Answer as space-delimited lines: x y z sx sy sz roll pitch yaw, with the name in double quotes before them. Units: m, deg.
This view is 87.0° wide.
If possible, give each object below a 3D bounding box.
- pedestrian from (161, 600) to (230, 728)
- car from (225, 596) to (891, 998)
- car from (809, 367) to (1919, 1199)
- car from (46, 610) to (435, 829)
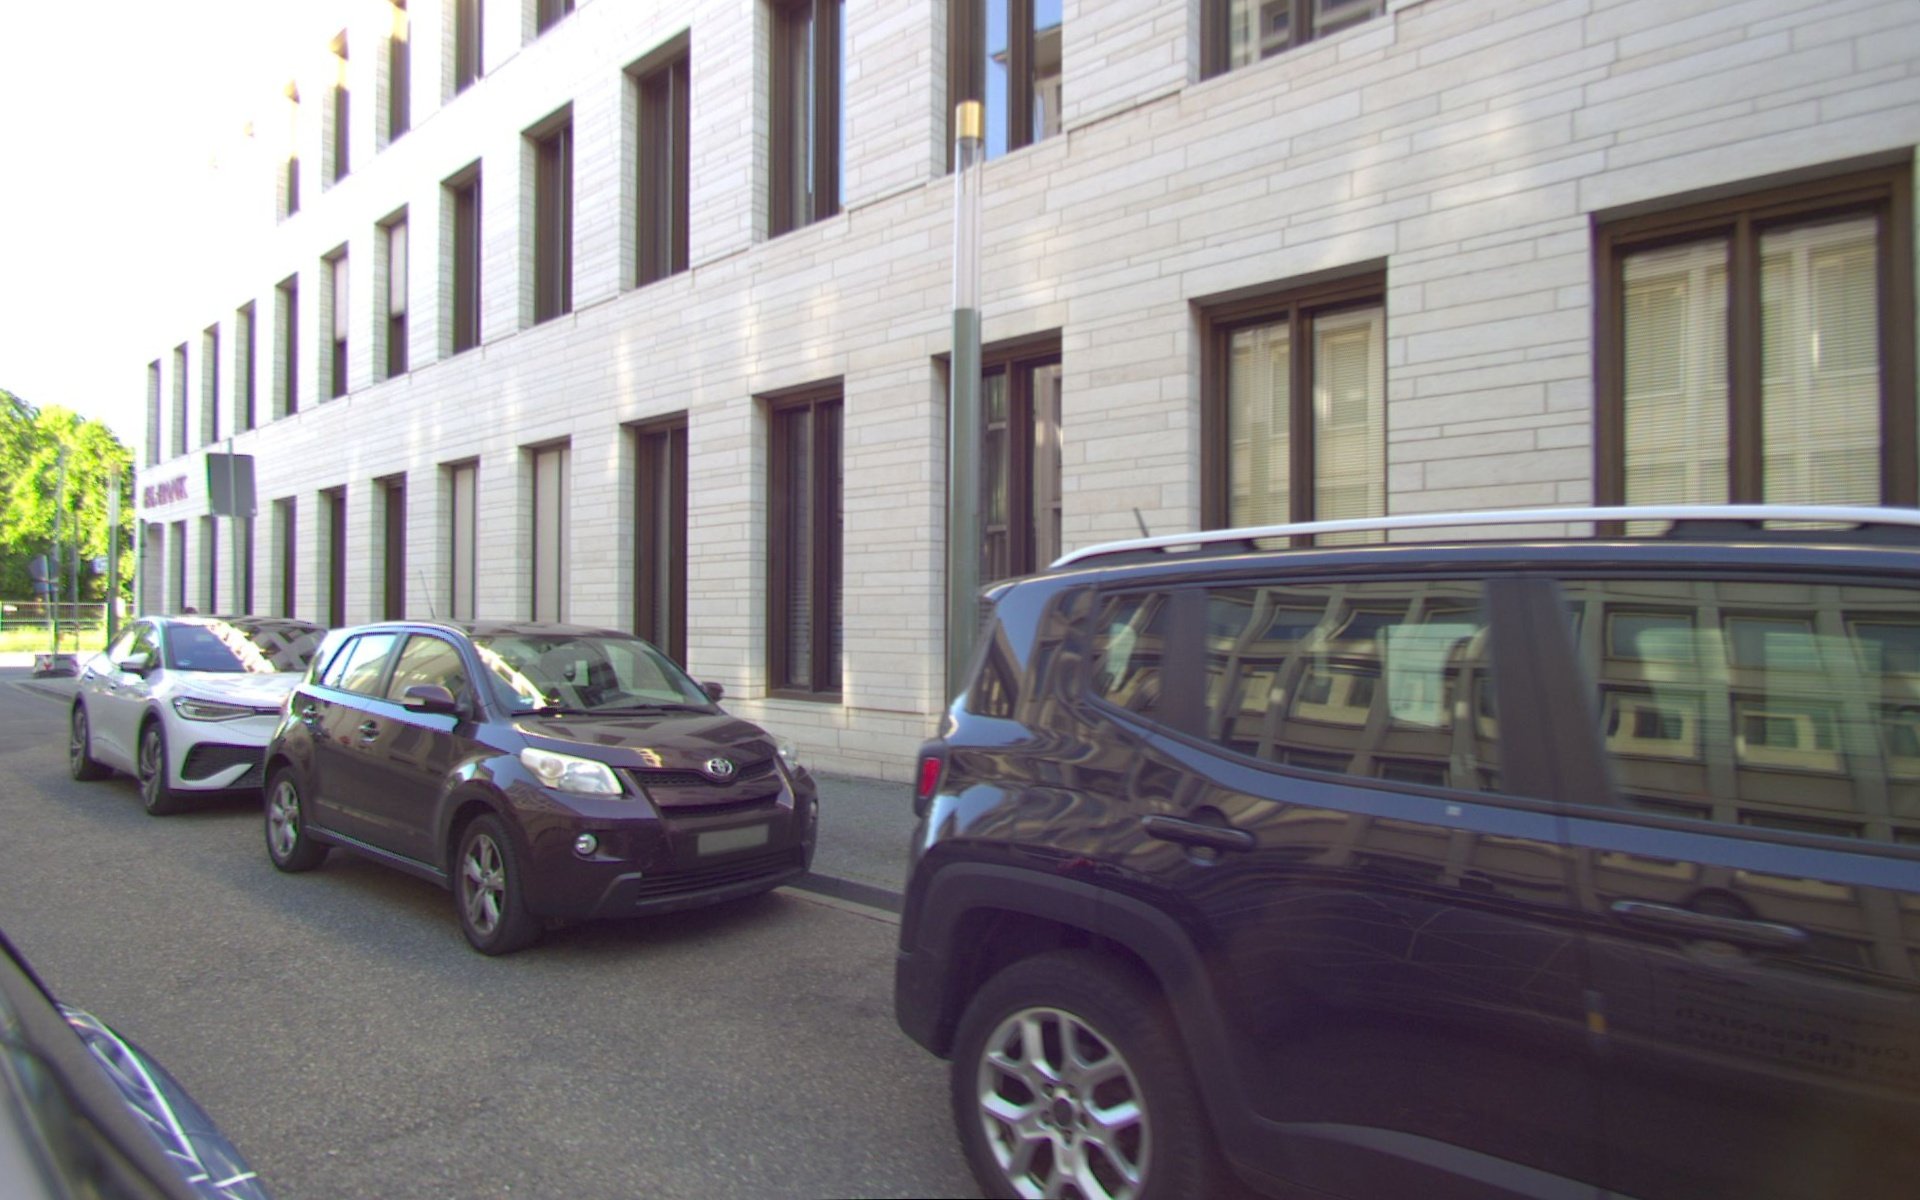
"pedestrian" -11.229 0.909 14.856 0.816 1.803 0.637 0 0 40
"car" -2.579 0.822 5.983 4.258 1.553 1.804 -2 -2 39
"car" 1.748 0.606 2.042 4.013 1.728 1.804 -2 -4 39
"car" -6.776 0.938 9.354 4.442 1.553 1.804 -2 -3 40
